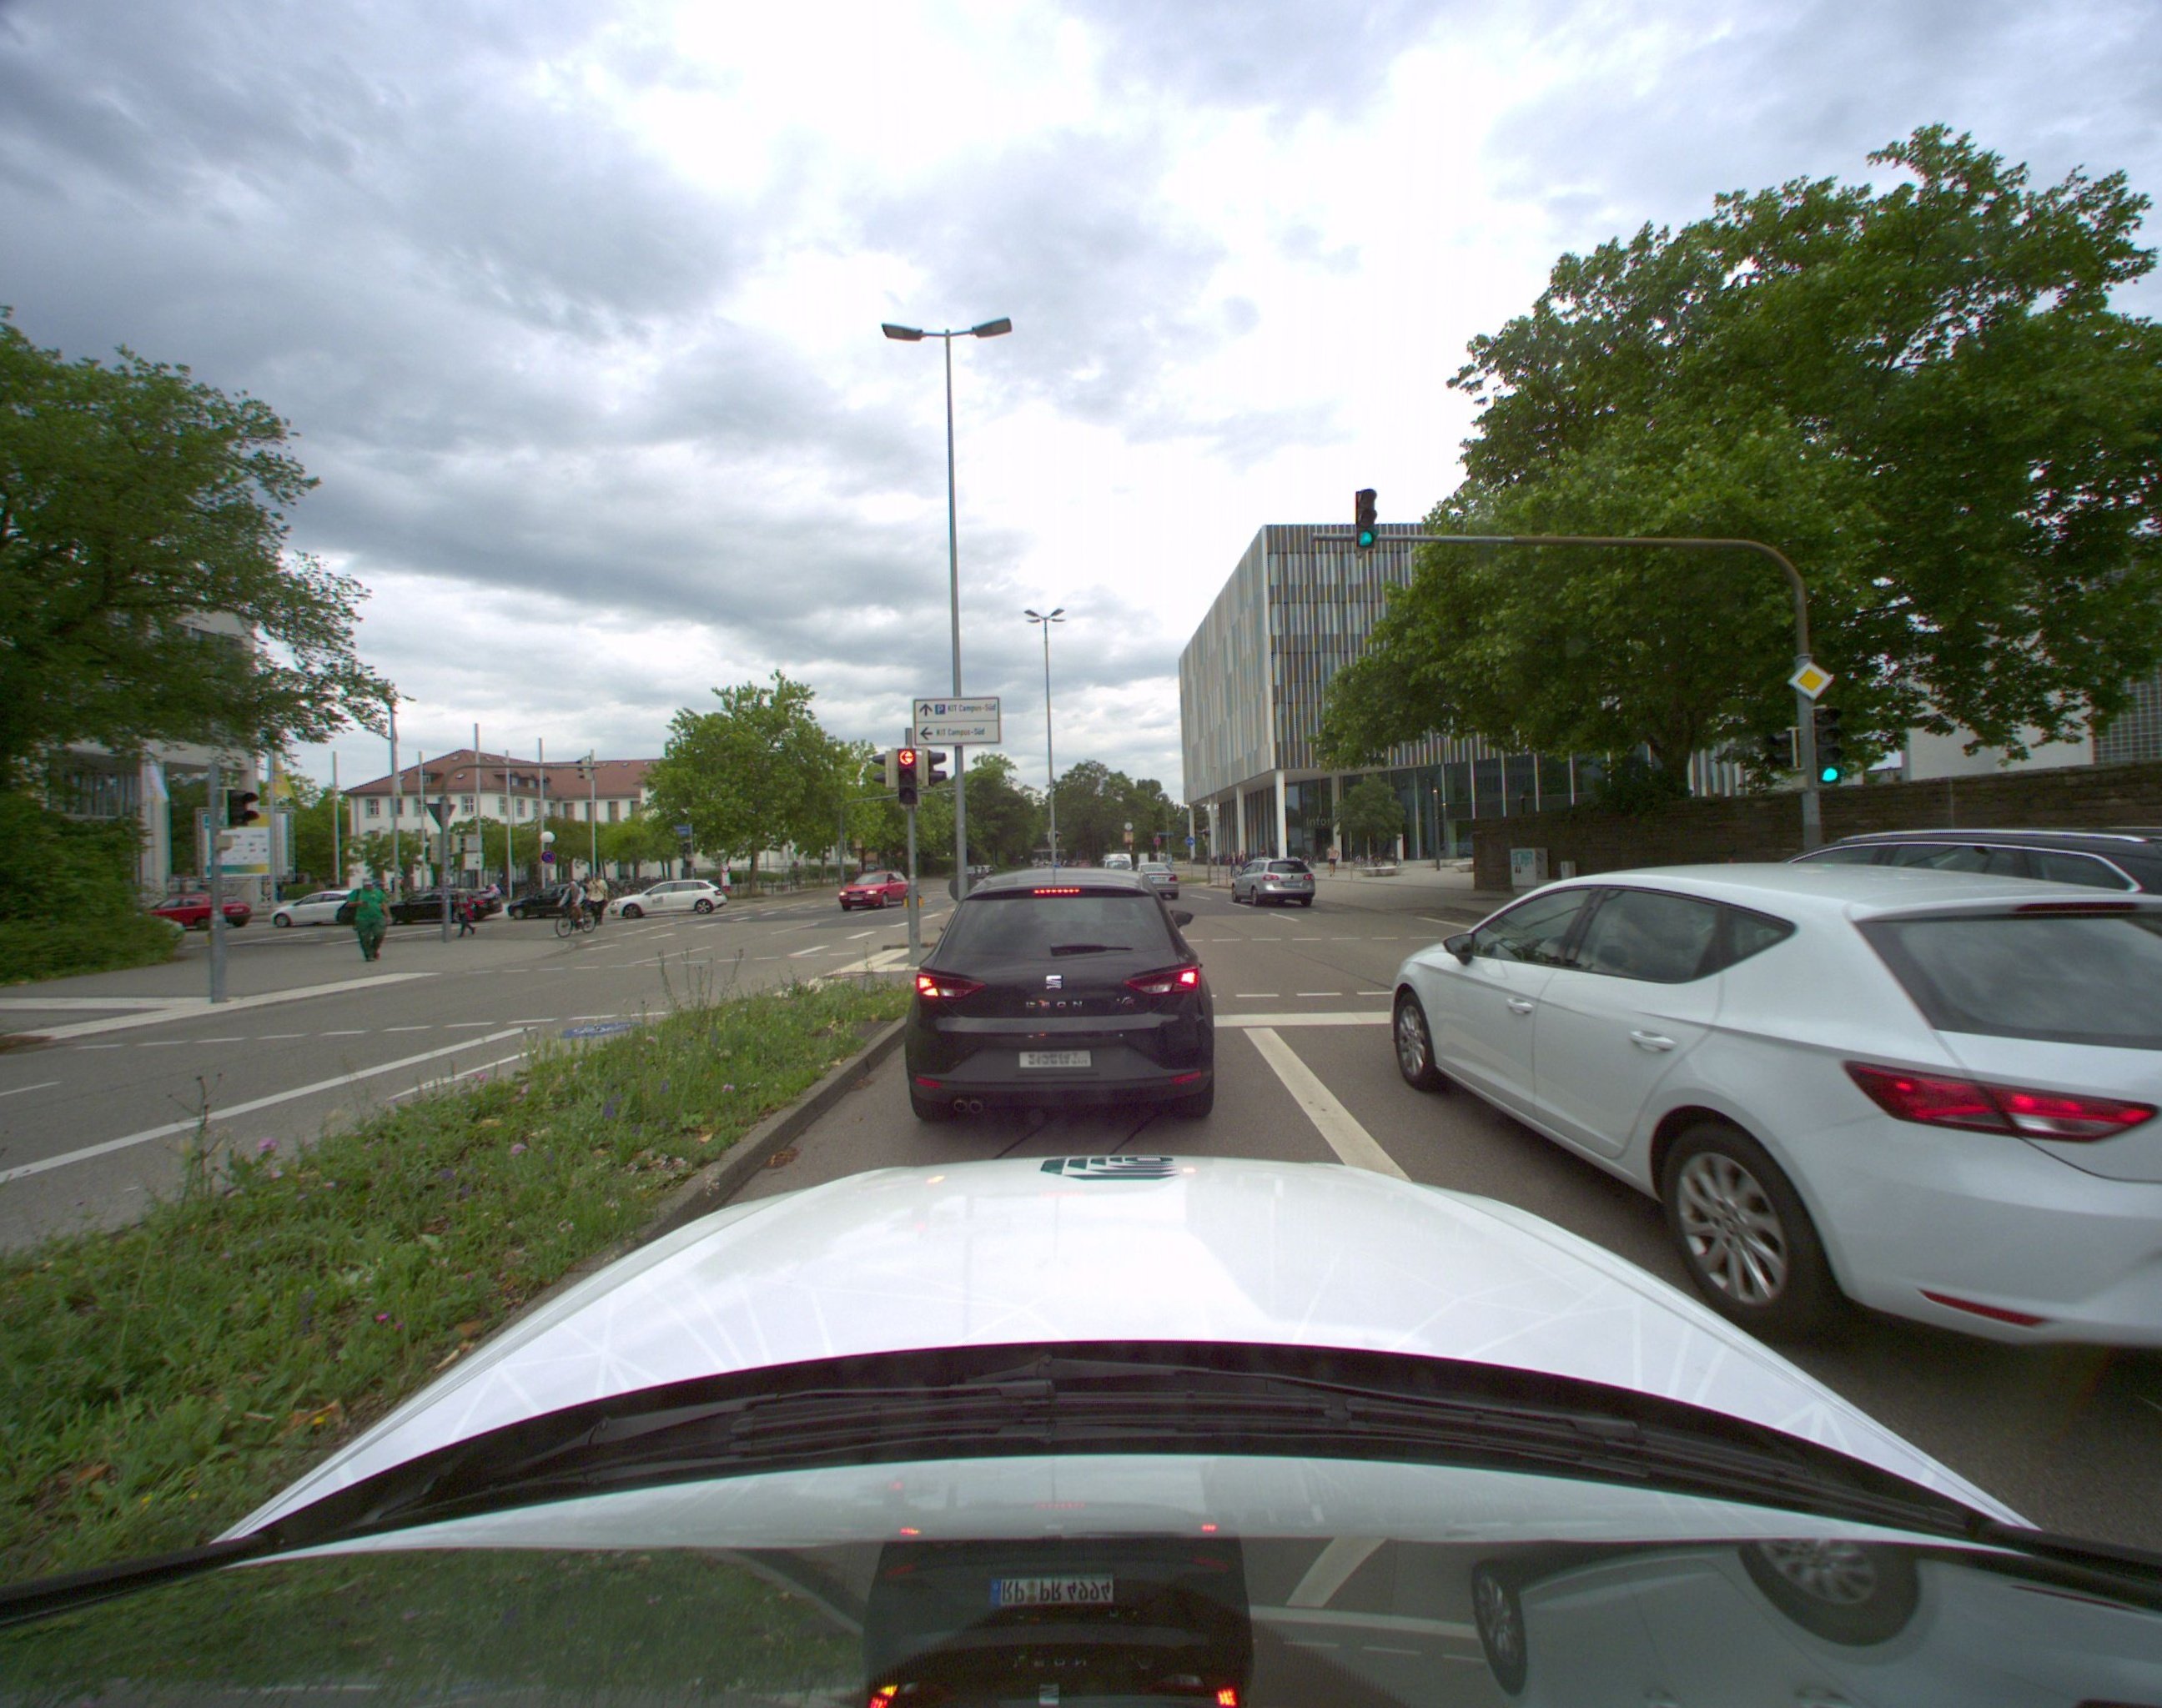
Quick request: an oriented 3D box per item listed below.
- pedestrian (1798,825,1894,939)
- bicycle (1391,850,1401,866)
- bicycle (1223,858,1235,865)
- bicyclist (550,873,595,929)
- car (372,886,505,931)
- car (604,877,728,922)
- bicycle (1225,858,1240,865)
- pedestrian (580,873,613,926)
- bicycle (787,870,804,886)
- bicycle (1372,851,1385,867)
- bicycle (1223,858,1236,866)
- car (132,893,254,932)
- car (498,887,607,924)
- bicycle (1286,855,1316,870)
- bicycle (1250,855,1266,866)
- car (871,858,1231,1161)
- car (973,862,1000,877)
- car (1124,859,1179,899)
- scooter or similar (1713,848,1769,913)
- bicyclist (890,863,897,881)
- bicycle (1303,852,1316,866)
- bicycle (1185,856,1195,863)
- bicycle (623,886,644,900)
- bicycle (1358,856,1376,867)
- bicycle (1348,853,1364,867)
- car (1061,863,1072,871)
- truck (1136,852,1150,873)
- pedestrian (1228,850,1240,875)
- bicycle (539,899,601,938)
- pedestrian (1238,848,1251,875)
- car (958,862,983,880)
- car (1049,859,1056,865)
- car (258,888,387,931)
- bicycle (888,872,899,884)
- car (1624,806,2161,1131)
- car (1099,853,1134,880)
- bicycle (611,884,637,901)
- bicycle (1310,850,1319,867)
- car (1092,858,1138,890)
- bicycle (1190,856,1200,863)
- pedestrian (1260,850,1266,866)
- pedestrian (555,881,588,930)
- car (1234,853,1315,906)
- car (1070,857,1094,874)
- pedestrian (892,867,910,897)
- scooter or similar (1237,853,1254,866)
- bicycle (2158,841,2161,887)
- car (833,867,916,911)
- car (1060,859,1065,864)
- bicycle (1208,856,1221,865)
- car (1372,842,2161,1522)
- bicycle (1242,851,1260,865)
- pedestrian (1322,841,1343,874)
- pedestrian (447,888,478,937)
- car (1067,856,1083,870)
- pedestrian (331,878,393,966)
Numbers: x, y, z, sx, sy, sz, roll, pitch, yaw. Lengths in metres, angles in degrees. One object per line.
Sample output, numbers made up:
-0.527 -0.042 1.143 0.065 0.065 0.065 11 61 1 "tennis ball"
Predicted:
11.207 0.394 11.946 0.657 1.561 0.636 -6 0 1 "pedestrian"
22.537 0.279 58.300 0.616 1.056 1.959 -4 0 21 "bicycle"
15.711 0.810 86.687 1.232 0.705 0.490 -4 0 10 "bicycle"
-15.316 1.401 24.554 0.662 1.635 0.964 -1 -1 10 "bicyclist"
-27.575 2.302 35.091 4.059 1.452 1.615 -3 5 -16 "car"
-16.798 1.818 33.176 4.228 1.431 1.699 -4 0 -20 "car"
15.699 0.789 84.414 1.368 0.705 0.416 -4 0 4 "bicycle"
-16.895 1.593 28.401 0.843 1.740 0.824 -2 -5 -22 "pedestrian"
-21.109 1.781 60.193 0.606 1.060 2.041 -3 0 -4 "bicycle"
21.662 0.354 59.247 0.802 1.056 1.959 -4 0 21 "bicycle"
15.634 0.827 85.796 1.366 0.705 0.490 -4 0 10 "bicycle"
-38.135 2.488 35.031 3.341 1.479 1.559 -1 0 -5 "car"
-23.255 2.259 35.933 3.649 1.223 1.562 -2 7 -5 "car"
15.110 0.604 55.993 1.892 0.898 0.693 -4 0 -20 "bicycle"
16.469 0.599 75.805 1.445 0.857 0.362 -4 0 -25 "bicycle"
-0.015 0.767 5.854 1.745 1.432 3.773 -1 0 4 "car"
-11.267 1.806 96.975 1.746 1.587 4.016 -4 0 15 "car"
2.730 0.945 32.253 1.717 1.414 4.243 -1 0 -1 "car"
13.089 0.503 16.180 0.428 1.179 1.714 -4 0 26 "scooter or similar"
-16.598 1.591 72.050 0.489 1.624 0.588 -1 1 1 "bicyclist"
18.795 0.393 66.904 0.614 1.045 1.716 -4 0 28 "bicycle"
14.551 0.750 108.818 1.262 0.848 0.479 1 -2 -21 "bicycle"
-30.894 2.695 56.203 1.211 0.880 0.262 -4 0 -22 "bicycle"
21.192 0.532 60.301 1.535 0.716 0.513 -4 0 -42 "bicycle"
20.573 0.469 60.901 0.688 0.946 1.997 -4 0 32 "bicycle"
-2.864 2.502 159.810 1.894 1.354 3.880 -4 0 -2 "car"
7.022 0.958 92.843 1.313 2.243 3.403 -4 0 2 "truck"
10.218 0.544 54.299 0.684 1.640 0.633 -1 0 1 "pedestrian"
-15.331 1.927 24.470 0.662 1.062 1.624 -1 -1 10 "bicycle"
10.912 0.468 54.335 0.684 1.781 0.677 -2 0 1 "pedestrian"
-11.697 1.805 86.764 1.899 1.717 4.002 -4 0 2 "car"
-8.148 2.351 230.866 1.692 1.503 4.003 -4 0 -5 "car"
-33.050 2.395 35.576 3.868 1.539 1.684 -2 2 -2 "car"
-16.595 2.103 72.063 0.486 1.005 1.590 -1 1 2 "bicycle"
6.368 0.572 5.905 1.900 1.624 4.491 -1 0 1 "car"
2.692 0.907 62.348 1.965 1.972 4.332 0 0 -7 "car"
-31.085 2.639 55.437 1.405 1.052 0.585 -4 0 -19 "bicycle"
18.406 0.361 64.119 0.522 1.253 1.674 -4 0 20 "bicycle"
1.826 1.066 44.940 1.728 1.603 4.093 -1 0 -8 "car"
14.958 0.703 106.700 1.239 0.823 0.479 0 -1 -21 "bicycle"
15.318 0.321 68.523 0.469 1.361 0.447 -3 0 12 "pedestrian"
-16.733 1.680 26.750 0.796 1.558 0.691 0 -5 -42 "pedestrian"
6.123 0.791 26.213 1.817 1.551 4.531 0 -1 4 "car"
0.086 1.148 84.815 1.949 1.624 3.736 -1 0 -10 "car"
-10.235 1.585 46.298 0.873 1.586 0.542 -3 0 -5 "pedestrian"
15.795 0.501 78.108 1.682 1.106 0.494 -4 0 -30 "scooter or similar"
13.550 0.395 8.921 0.801 1.174 1.952 -5 0 -3 "bicycle"
-8.045 1.335 32.139 1.705 1.418 4.302 -3 0 7 "car"
-5.297 2.163 235.270 1.501 1.193 3.161 -4 0 -2 "car"
15.006 0.697 91.601 1.379 0.942 0.489 -3 0 8 "bicycle"
2.896 0.709 3.718 1.775 1.463 3.871 -1 0 1 "car"
16.180 0.363 77.522 1.785 1.211 0.564 -4 0 -32 "bicycle"
13.803 0.183 44.724 0.844 1.765 0.768 -3 0 1 "pedestrian"
-20.121 1.907 26.502 0.572 1.527 0.842 -2 -5 -22 "pedestrian"
-0.791 1.189 109.420 1.910 1.664 4.111 -4 0 -2 "car"
-15.131 1.400 17.138 0.948 1.759 0.865 0 -2 -42 "pedestrian"
